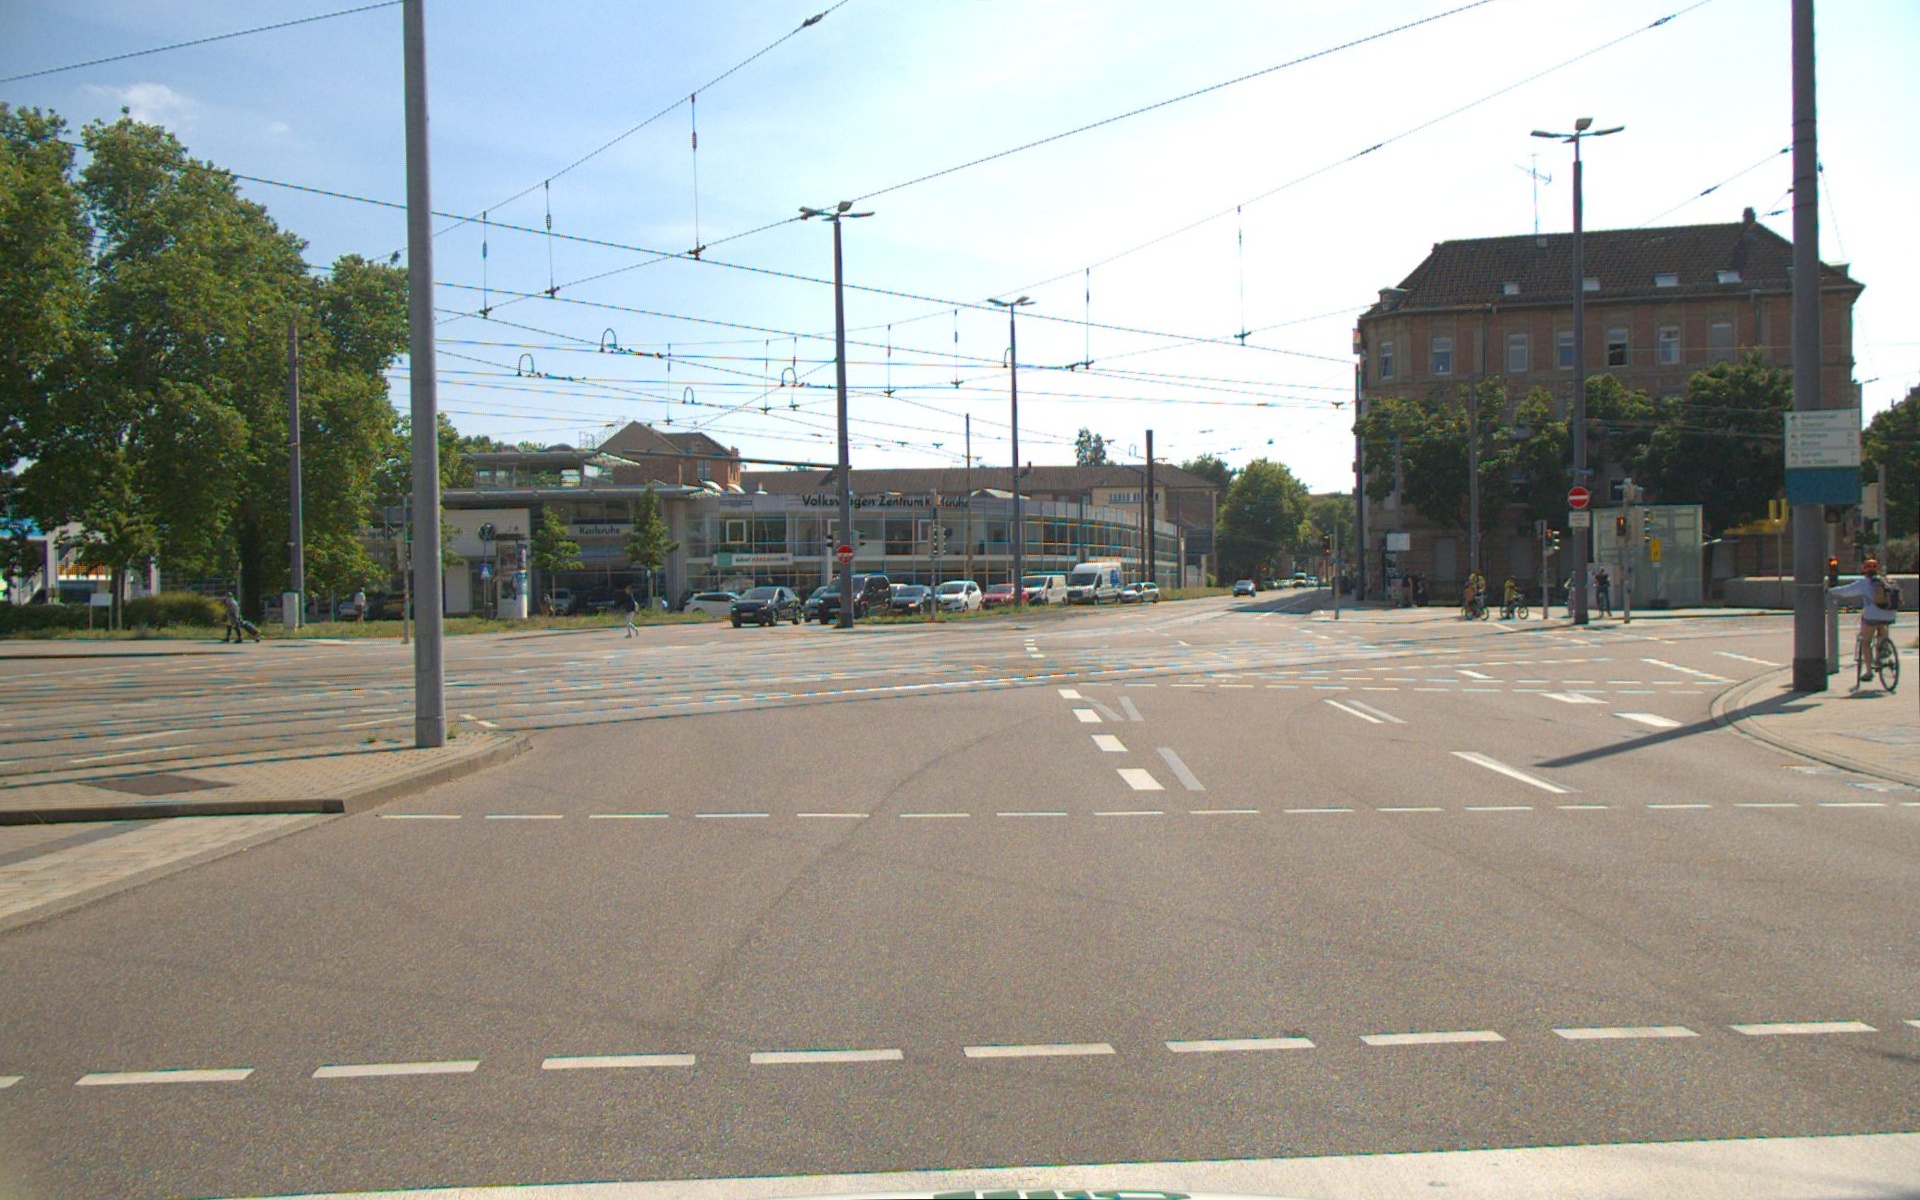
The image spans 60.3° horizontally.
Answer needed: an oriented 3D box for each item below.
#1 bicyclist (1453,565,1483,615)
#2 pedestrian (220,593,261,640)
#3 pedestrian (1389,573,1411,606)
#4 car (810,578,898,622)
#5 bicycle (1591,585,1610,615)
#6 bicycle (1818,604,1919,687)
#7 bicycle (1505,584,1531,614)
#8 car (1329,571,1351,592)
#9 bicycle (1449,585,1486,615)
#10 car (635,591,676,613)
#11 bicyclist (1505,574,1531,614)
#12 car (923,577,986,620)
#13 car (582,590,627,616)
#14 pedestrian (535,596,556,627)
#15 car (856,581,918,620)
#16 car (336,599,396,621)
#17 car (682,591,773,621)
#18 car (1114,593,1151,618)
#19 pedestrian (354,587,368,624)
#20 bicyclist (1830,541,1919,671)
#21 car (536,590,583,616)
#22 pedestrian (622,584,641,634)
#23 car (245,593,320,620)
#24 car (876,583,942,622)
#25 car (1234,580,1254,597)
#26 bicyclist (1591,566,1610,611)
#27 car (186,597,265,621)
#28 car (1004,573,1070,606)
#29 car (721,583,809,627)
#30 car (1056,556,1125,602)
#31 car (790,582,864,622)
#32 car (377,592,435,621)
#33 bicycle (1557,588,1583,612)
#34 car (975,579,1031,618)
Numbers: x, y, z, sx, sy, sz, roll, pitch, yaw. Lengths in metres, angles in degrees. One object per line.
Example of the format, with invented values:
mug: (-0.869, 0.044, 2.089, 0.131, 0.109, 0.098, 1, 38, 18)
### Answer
bicyclist: (18.953, -0.370, 61.716, 0.907, 1.852, 1.053, 1, -1, 8)
pedestrian: (-22.347, 0.515, 51.387, 1.098, 1.428, 0.652, 1, -1, -23)
pedestrian: (19.550, -0.449, 73.489, 0.608, 1.458, 0.703, 1, -1, -38)
car: (-4.089, -0.034, 64.522, 1.919, 1.615, 4.719, -1, 1, 16)
bicycle: (23.905, -0.006, 61.716, 0.653, 1.088, 2.463, 1, 1, 22)
bicycle: (12.486, 0.595, 22.546, 0.699, 1.033, 2.022, -3, 0, 7)
bicycle: (21.117, -0.037, 62.602, 0.907, 1.088, 2.842, 1, 1, 18)
car: (38.140, -1.855, 166.028, 2.063, 2.049, 4.004, -1, 0, 13)
bicycle: (18.951, 0.022, 61.808, 0.907, 1.088, 2.749, 1, 0, 9)
car: (-18.341, 0.114, 99.683, 1.793, 1.216, 3.998, 1, 0, -2)
bicyclist: (21.009, -0.231, 62.314, 0.907, 1.477, 1.252, 1, 1, 18)
car: (-0.240, -0.042, 78.424, 1.854, 1.950, 4.203, -1, -1, 16)
car: (-21.470, 0.183, 100.023, 1.953, 1.512, 3.998, 1, 0, -2)
pedestrian: (-21.698, 0.622, 86.571, 0.934, 1.607, 0.534, 1, -1, -4)
car: (-3.411, 0.050, 77.917, 1.616, 1.769, 4.203, -1, -1, 16)
car: (-35.994, 0.583, 100.270, 1.951, 1.266, 4.002, 1, 0, 4)
car: (-12.244, 0.314, 87.169, 4.486, 1.461, 1.445, 1, 0, 12)
car: (11.766, 0.373, 112.745, 1.358, 1.653, 3.335, 1, 0, 28)
pedestrian: (-26.654, 0.232, 73.602, 0.384, 1.624, 0.464, 1, -1, 23)
bicyclist: (12.451, 0.077, 22.539, 0.699, 1.698, 0.875, -3, 0, 7)
car: (-24.198, 0.192, 100.010, 1.953, 1.512, 3.998, 1, 0, -2)
pedestrian: (-10.689, 0.300, 53.798, 0.449, 1.633, 0.395, 1, -1, -37)
car: (-42.658, 0.410, 104.160, 3.907, 1.579, 1.999, -1, 0, -3)
car: (-2.150, 0.119, 71.102, 1.854, 1.615, 4.003, -1, -1, 13)
car: (25.068, -1.008, 145.938, 1.355, 1.439, 3.013, 1, 0, 18)
bicyclist: (23.861, -0.426, 61.599, 0.653, 1.652, 0.782, 1, 1, 22)
car: (-44.875, 0.529, 101.082, 3.906, 1.395, 1.999, 1, 0, -1)
car: (4.359, -0.596, 92.521, 2.140, 1.710, 5.029, -1, 0, 22)
car: (-7.479, 0.210, 63.859, 1.851, 1.615, 4.213, -1, -1, 16)
car: (7.897, -1.247, 99.627, 2.165, 2.620, 5.870, 1, 0, 25)
car: (-5.644, 0.098, 70.698, 1.854, 1.615, 4.002, -1, -1, 16)
car: (-33.685, 0.402, 100.701, 1.951, 1.713, 4.002, 1, 0, 4)
bicycle: (22.828, -0.016, 61.880, 0.489, 0.881, 1.588, 1, 1, 4)
car: (2.255, -0.065, 85.360, 1.854, 1.950, 4.203, -1, -1, 16)
